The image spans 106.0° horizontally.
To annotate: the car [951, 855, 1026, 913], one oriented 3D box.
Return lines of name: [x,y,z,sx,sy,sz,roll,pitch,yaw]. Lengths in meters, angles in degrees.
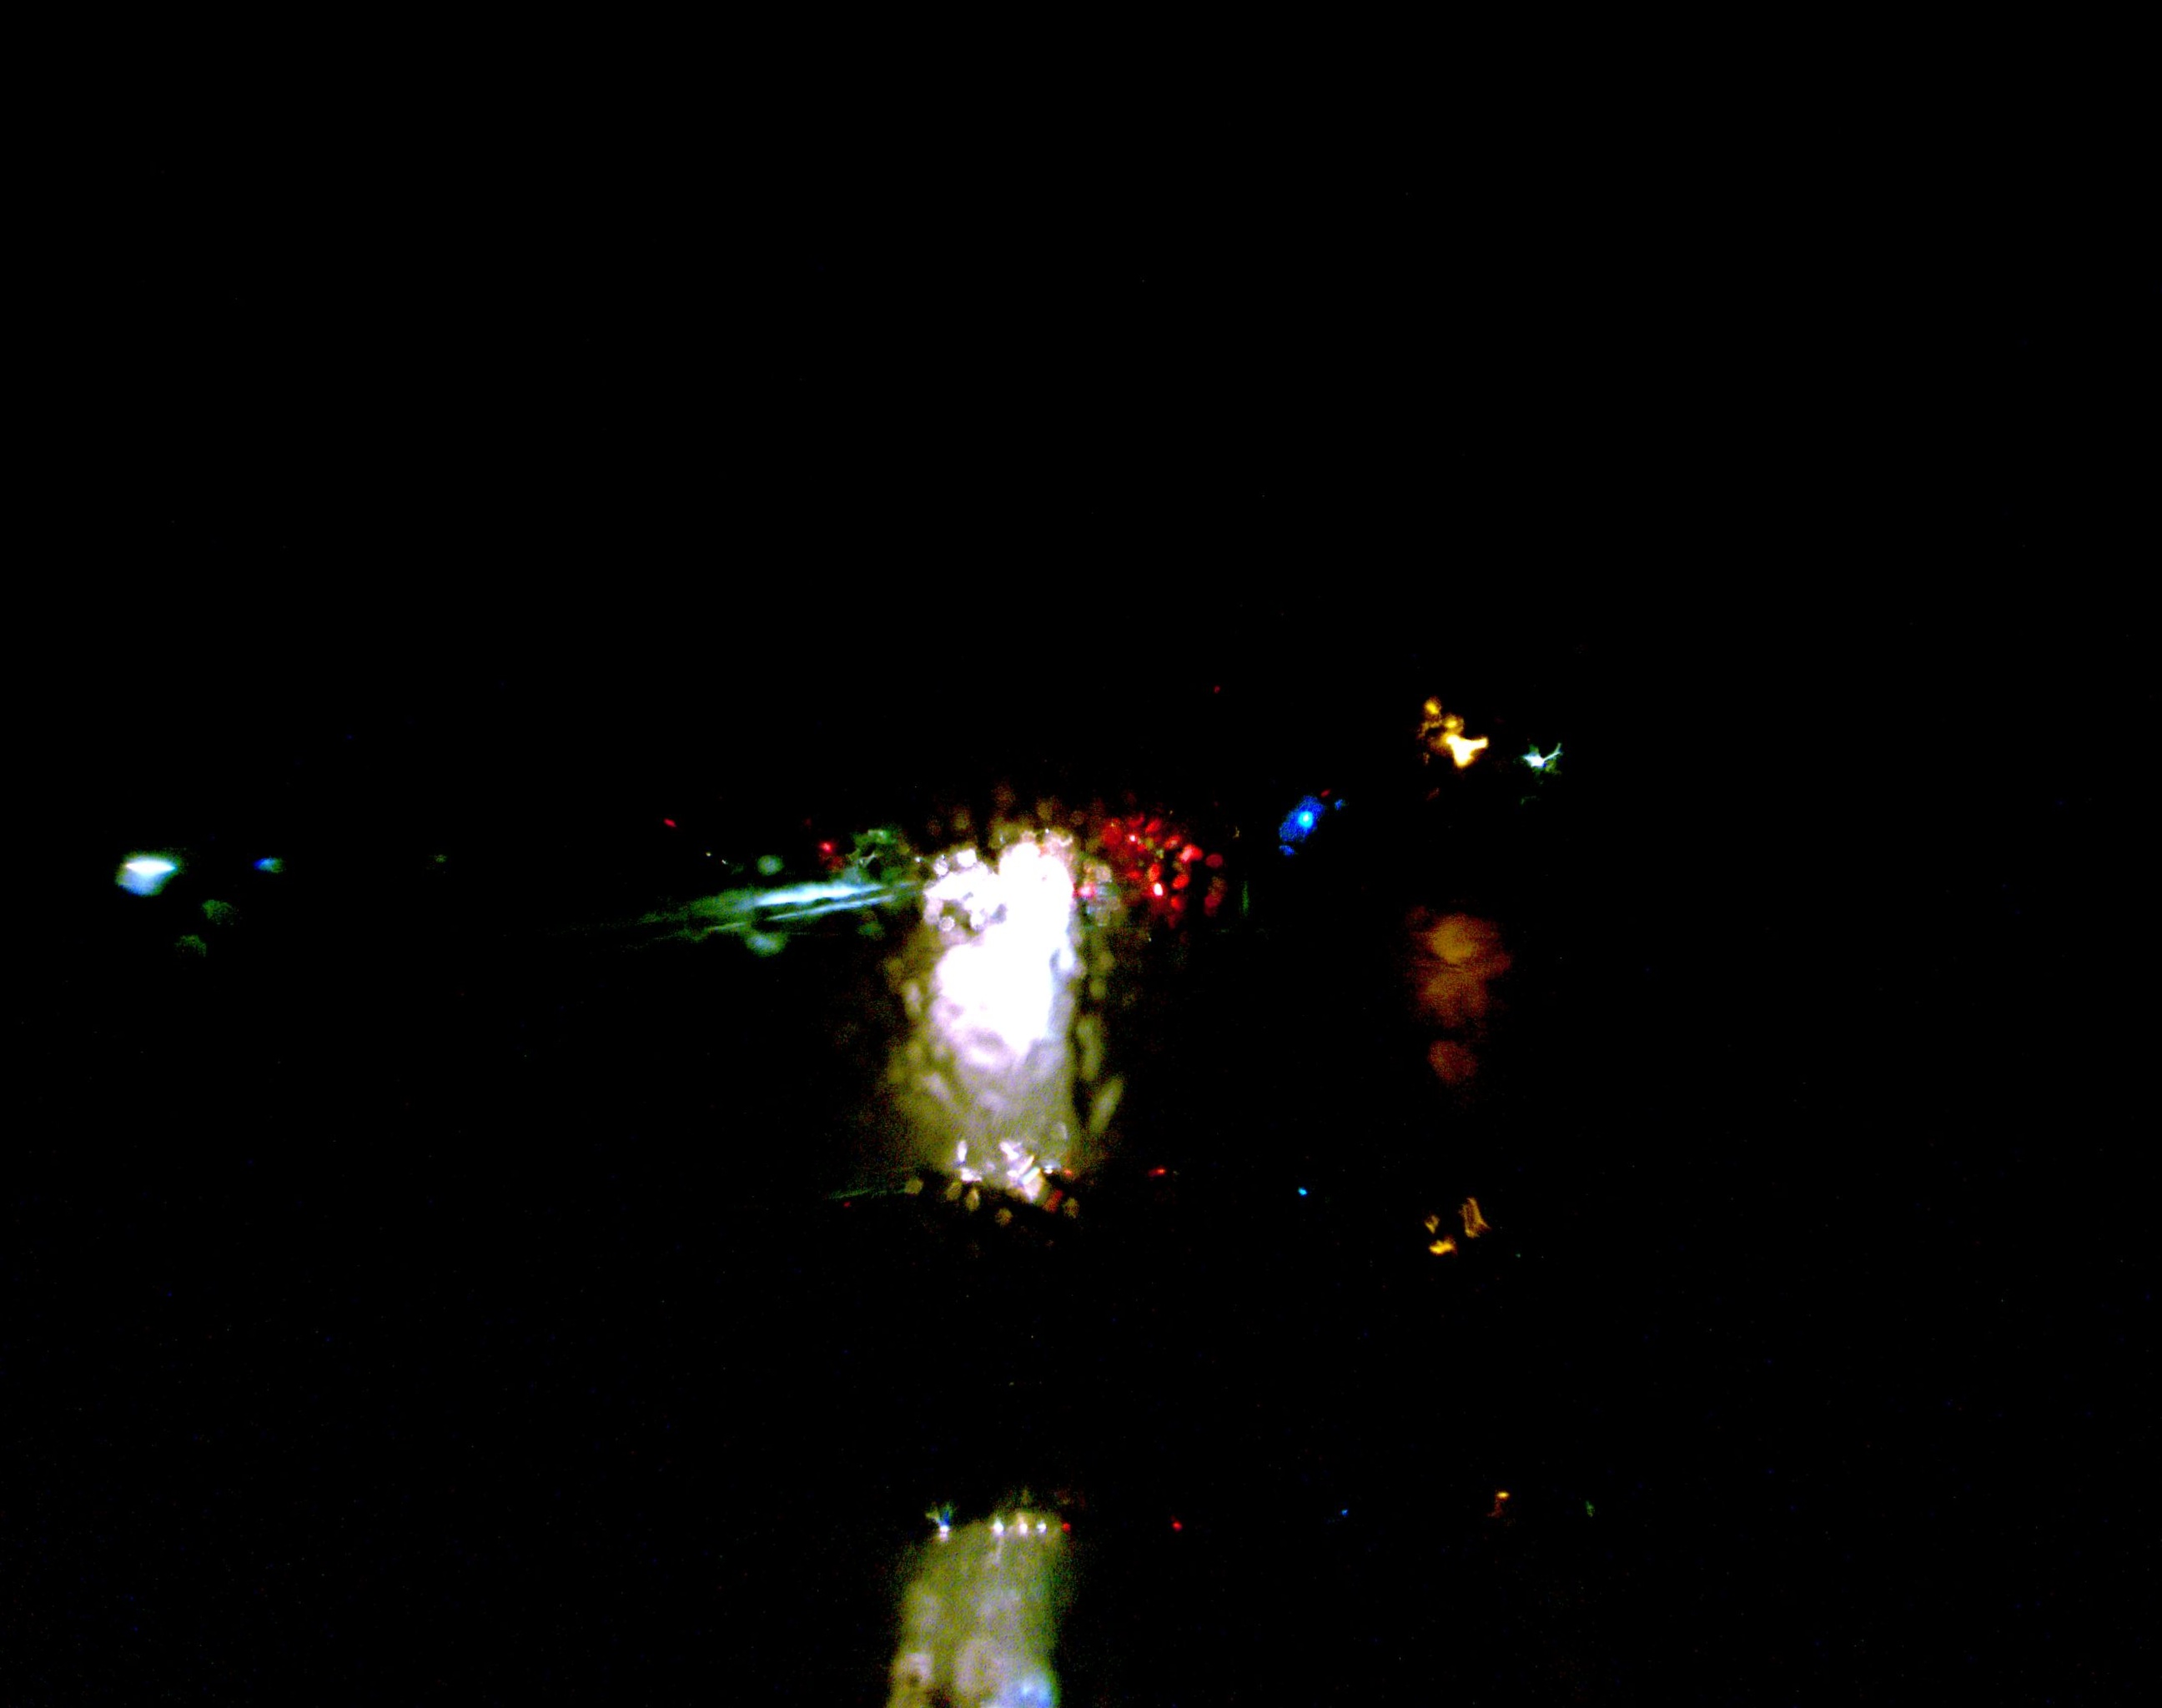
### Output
car: [-2.514,0.786,22.910,1.663,1.473,3.633,-1,0,0]

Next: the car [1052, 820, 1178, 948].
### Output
car: [0.578,0.472,14.731,1.935,1.972,4.219,0,0,1]

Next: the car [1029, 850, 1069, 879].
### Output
car: [-1.771,0.580,46.216,1.836,1.575,4.600,-1,0,3]

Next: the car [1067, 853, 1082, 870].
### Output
car: [-1.125,1.248,137.474,2.114,2.708,6.245,0,0,3]

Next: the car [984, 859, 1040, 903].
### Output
car: [-2.418,0.916,29.302,1.616,1.473,3.885,-1,0,1]

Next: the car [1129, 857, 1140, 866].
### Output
car: [9.635,1.348,145.685,1.654,1.450,4.059,-1,-1,8]

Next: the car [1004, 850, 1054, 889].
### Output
car: [-2.316,0.701,37.599,1.837,1.668,4.447,-1,0,2]
